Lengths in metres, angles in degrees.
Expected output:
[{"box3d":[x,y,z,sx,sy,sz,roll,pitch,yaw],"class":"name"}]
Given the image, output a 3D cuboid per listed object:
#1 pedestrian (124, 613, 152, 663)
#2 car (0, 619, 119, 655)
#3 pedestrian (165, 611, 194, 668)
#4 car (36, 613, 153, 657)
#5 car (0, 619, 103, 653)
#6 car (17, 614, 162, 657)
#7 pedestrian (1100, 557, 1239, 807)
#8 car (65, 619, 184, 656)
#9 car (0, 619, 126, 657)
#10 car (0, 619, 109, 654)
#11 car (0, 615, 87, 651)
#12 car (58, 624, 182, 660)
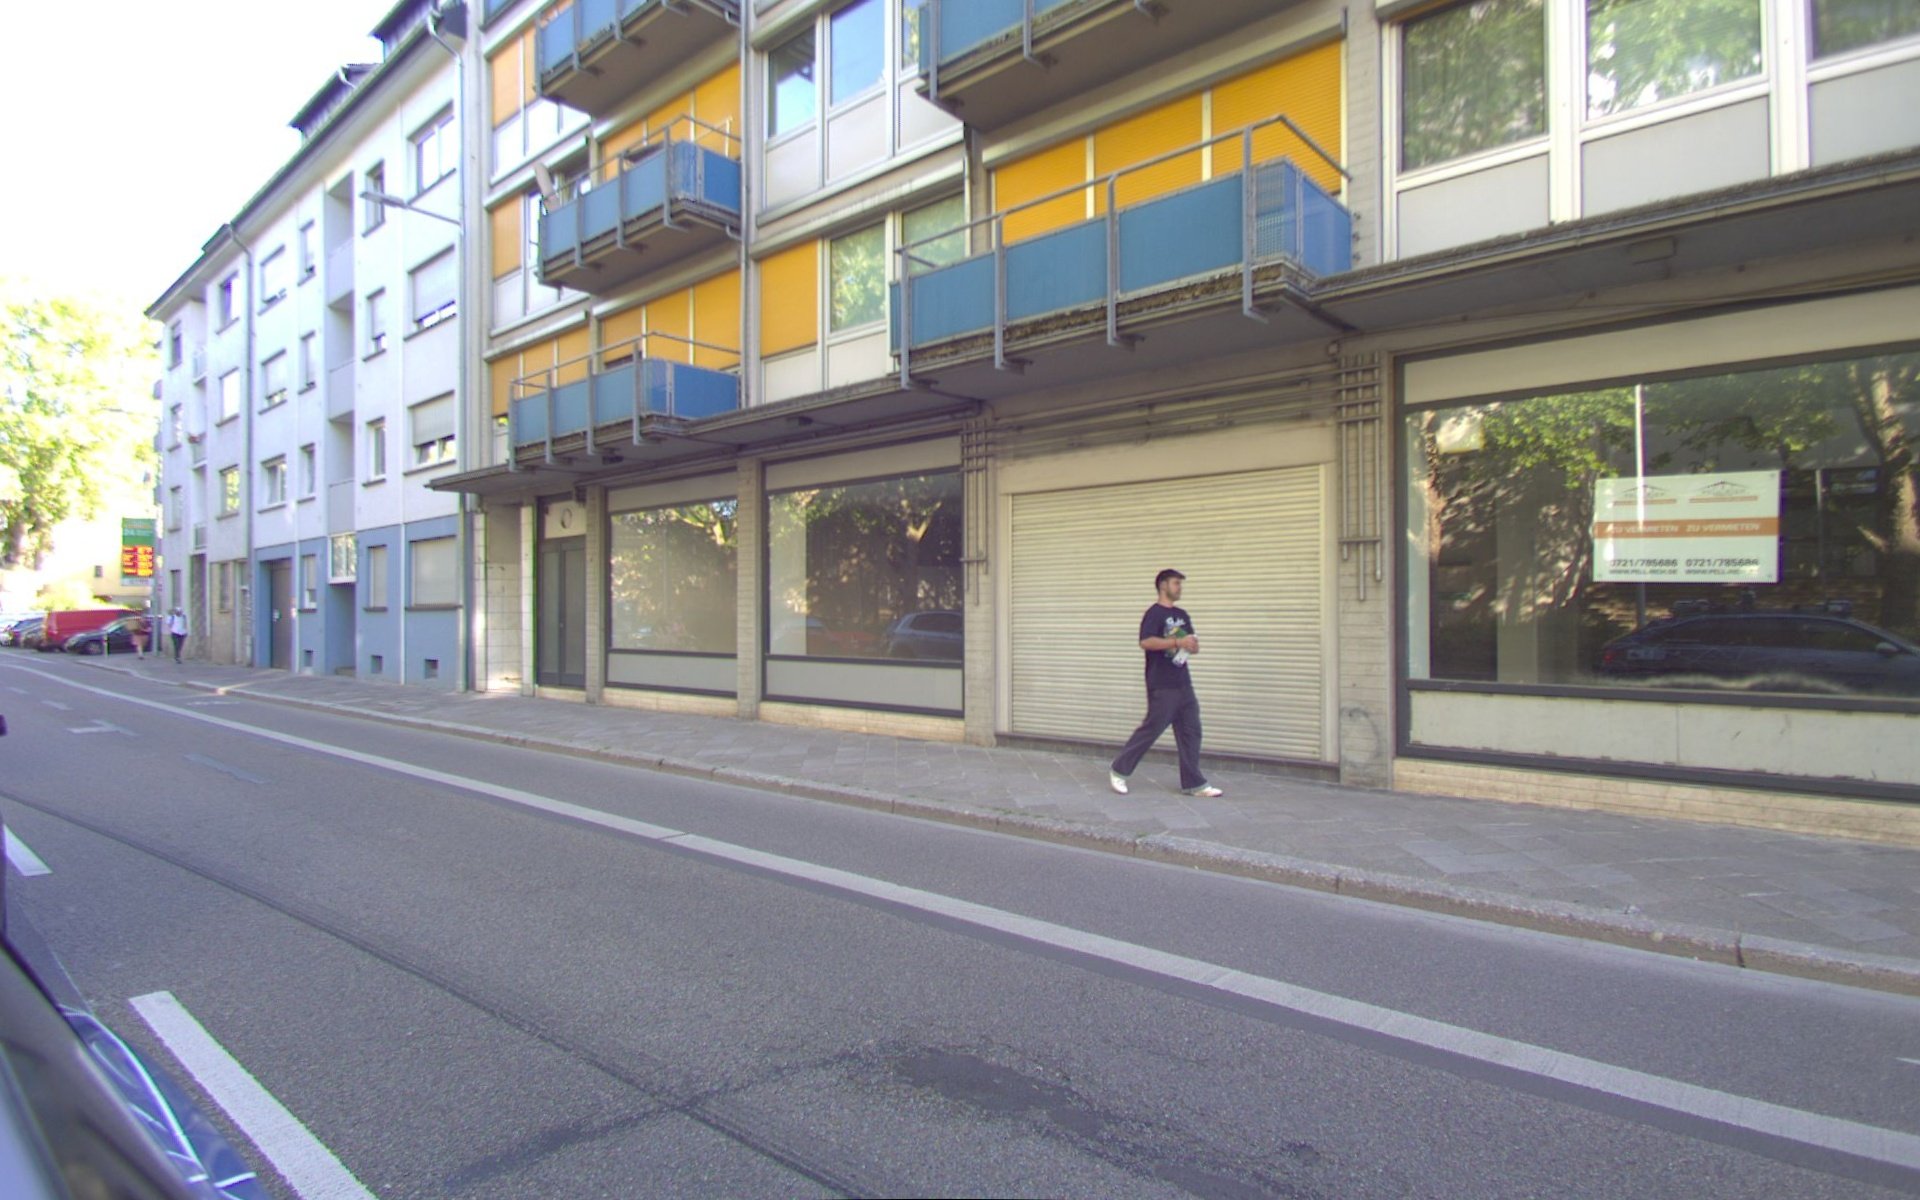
[{"box3d":[-28.221,1.295,34.745,0.842,1.654,0.596,-1,0,41],"class":"pedestrian"},{"box3d":[-52.227,2.100,58.717,2.159,1.952,4.990,-1,-1,41],"class":"car"},{"box3d":[-24.618,1.222,31.918,0.756,1.760,0.600,-1,0,41],"class":"pedestrian"},{"box3d":[-40.581,1.626,47.514,1.866,1.952,3.946,-1,-1,41],"class":"car"},{"box3d":[-55.961,2.149,61.985,2.314,1.952,4.978,-1,-1,41],"class":"car"},{"box3d":[-42.682,1.693,49.712,2.256,1.995,5.156,-1,-1,41],"class":"car"},{"box3d":[1.598,0.587,7.715,0.793,1.785,0.655,-1,-1,41],"class":"pedestrian"},{"box3d":[-37.868,1.670,45.941,1.742,1.572,3.946,-1,-1,41],"class":"car"},{"box3d":[-50.288,2.077,56.829,2.186,1.952,5.077,-1,-1,41],"class":"car"},{"box3d":[-54.113,2.121,60.354,2.082,1.952,4.928,-1,-1,41],"class":"car"},{"box3d":[-59.335,2.088,64.711,2.186,2.164,5.077,-1,-1,41],"class":"car"},{"box3d":[-36.543,1.780,44.075,1.742,1.431,3.946,-1,-1,41],"class":"car"}]
